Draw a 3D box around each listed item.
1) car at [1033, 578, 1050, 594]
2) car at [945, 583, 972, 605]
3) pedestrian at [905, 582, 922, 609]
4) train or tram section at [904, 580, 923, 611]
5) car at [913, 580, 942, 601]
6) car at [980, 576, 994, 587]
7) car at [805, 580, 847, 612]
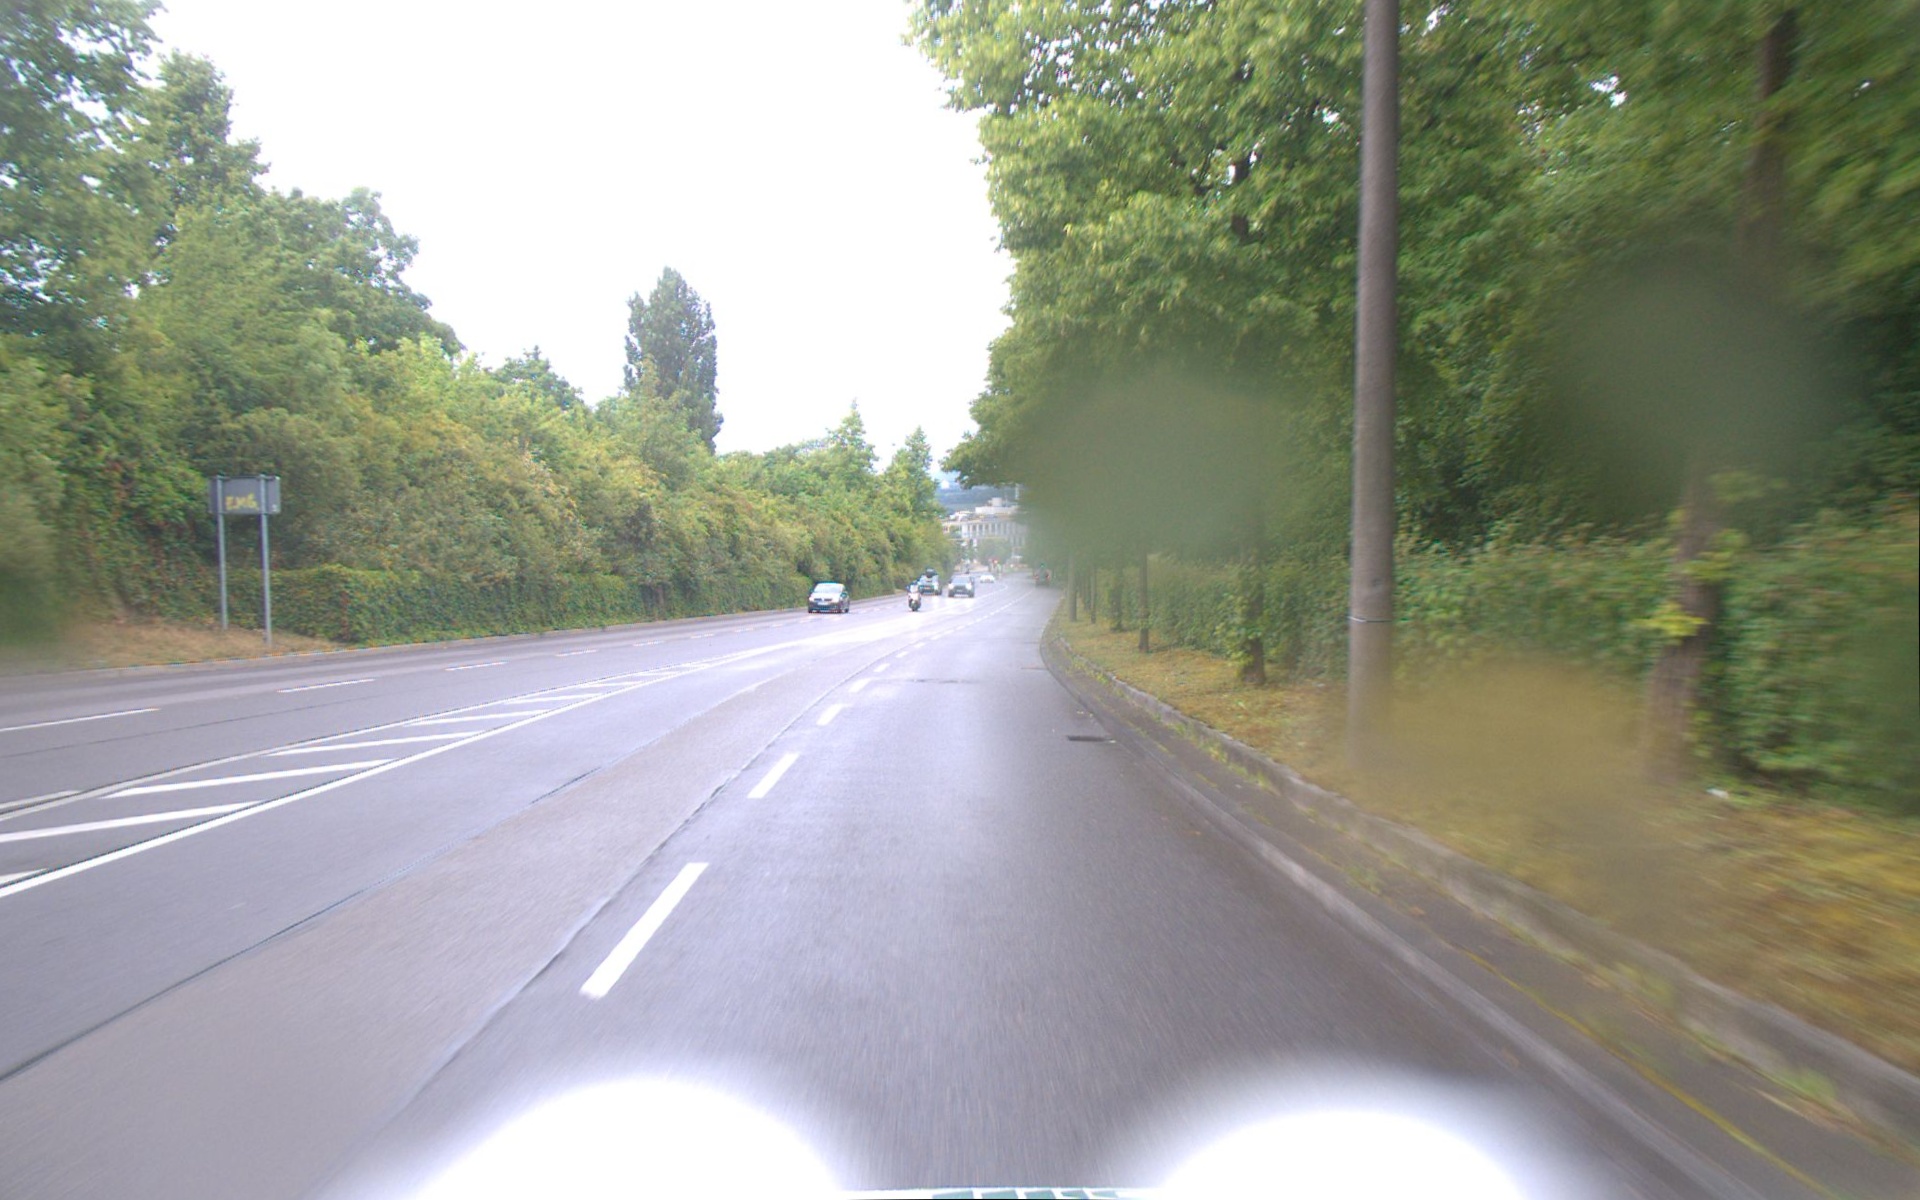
[{"bbox_3d":[9.944,-1.701,200.465,1.810,1.731,3.795,3,-1,5],"label":"car"},{"bbox_3d":[-0.102,-0.495,132.527,1.774,1.686,4.597,2,0,3],"label":"car"},{"bbox_3d":[-2.477,-0.237,88.435,0.774,1.408,0.975,3,0,3],"label":"pedestrian"},{"bbox_3d":[-2.480,-0.237,88.388,0.774,1.597,2.384,3,0,3],"label":"train or tram section"},{"bbox_3d":[-2.690,-0.794,137.701,1.859,1.580,4.633,3,0,4],"label":"car"},{"bbox_3d":[3.951,-2.709,239.266,1.679,1.531,4.519,3,1,4],"label":"car"},{"bbox_3d":[-6.462,-0.188,79.935,1.516,1.462,3.697,1,0,3],"label":"car"}]
